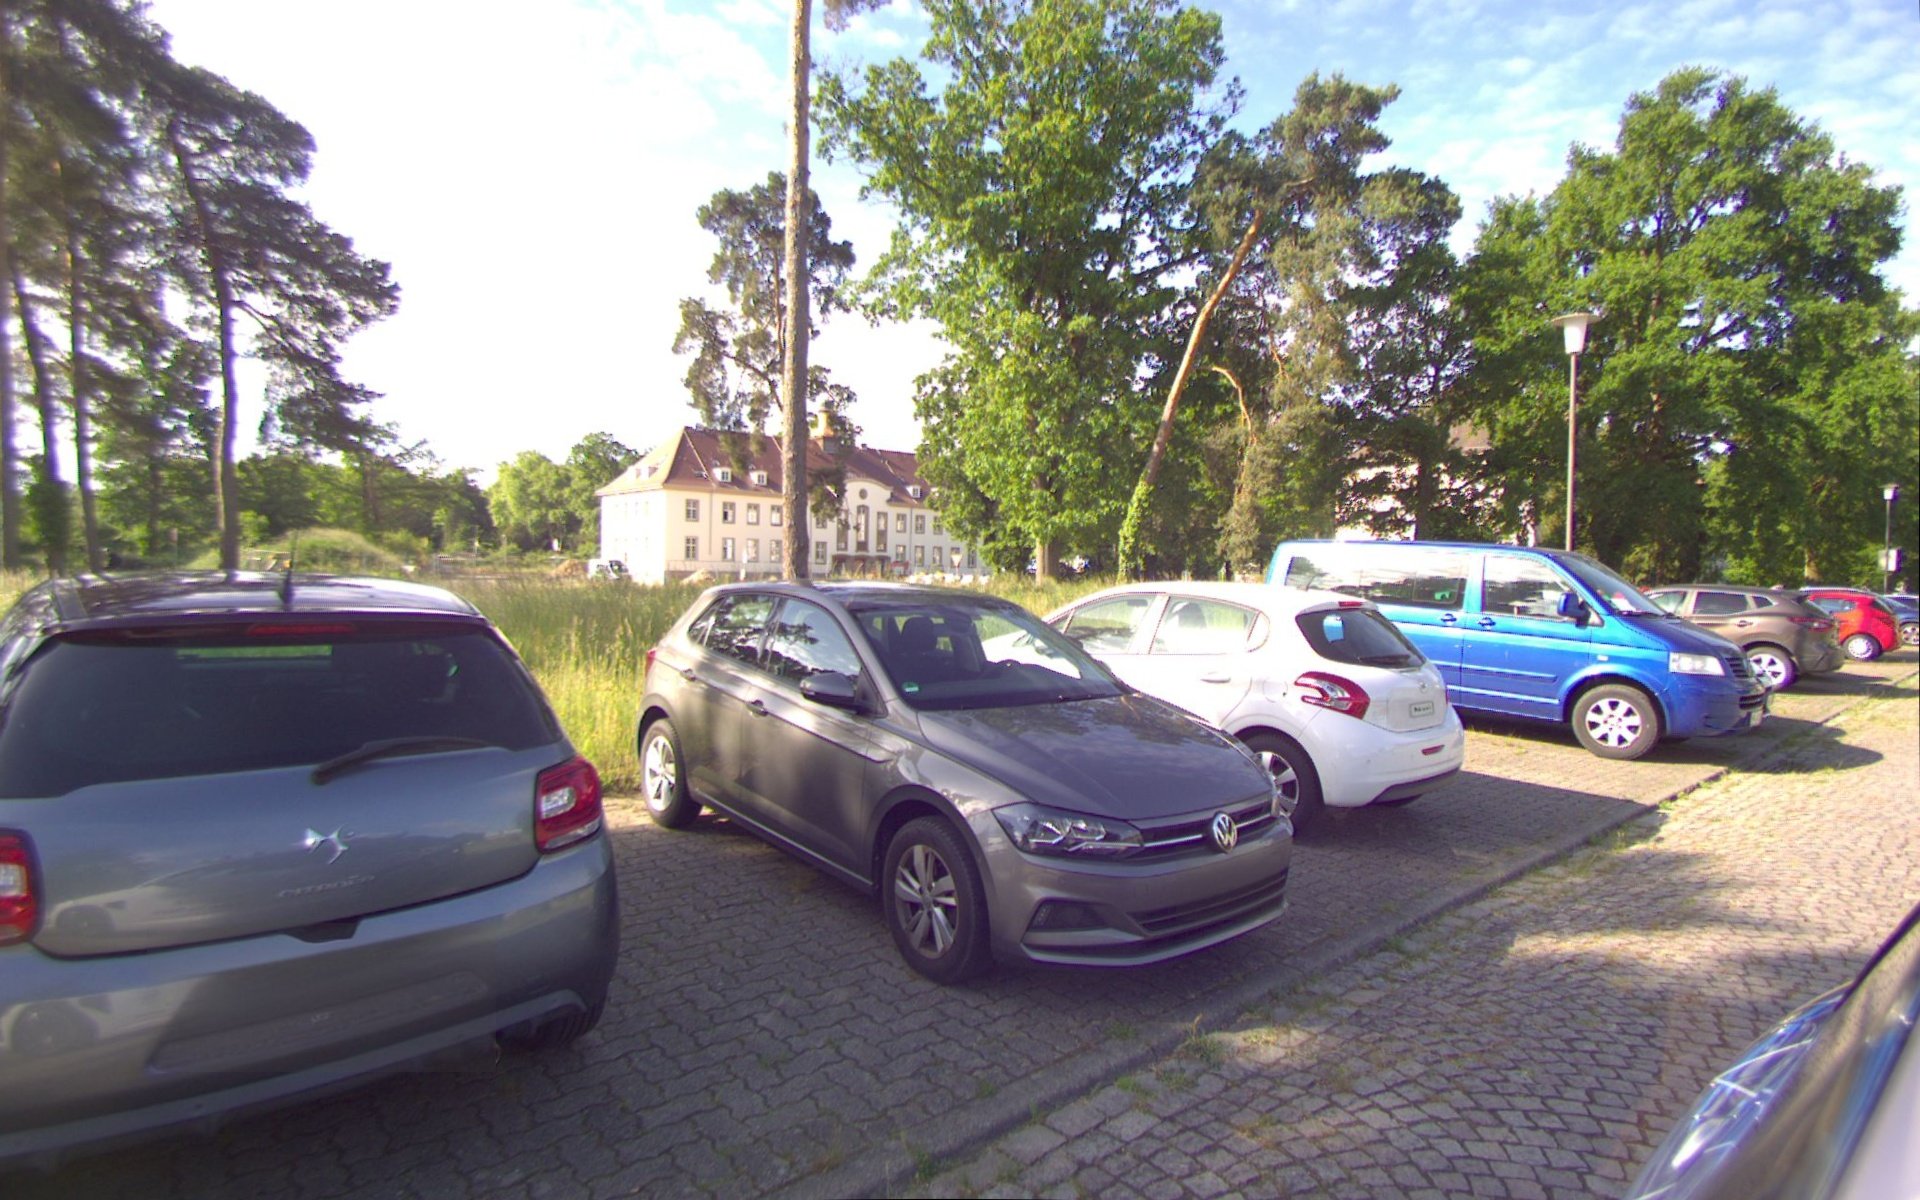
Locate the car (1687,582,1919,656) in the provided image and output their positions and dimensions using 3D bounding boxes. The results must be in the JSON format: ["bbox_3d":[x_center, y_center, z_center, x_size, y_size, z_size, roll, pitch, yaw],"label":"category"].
[{"bbox_3d":[19.490,0.364,23.519,1.514,1.514,3.994,0,2,-41],"label":"car"}]

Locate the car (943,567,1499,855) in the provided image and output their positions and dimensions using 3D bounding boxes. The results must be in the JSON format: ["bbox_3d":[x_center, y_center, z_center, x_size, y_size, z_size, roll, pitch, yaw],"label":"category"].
[{"bbox_3d":[1.655,0.545,7.357,1.605,1.510,3.652,0,2,-40],"label":"car"}]

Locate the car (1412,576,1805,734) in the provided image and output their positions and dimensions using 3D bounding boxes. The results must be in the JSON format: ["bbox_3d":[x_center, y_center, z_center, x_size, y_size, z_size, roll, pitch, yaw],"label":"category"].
[{"bbox_3d":[7.741,0.530,12.344,1.583,1.484,3.725,0,3,-43],"label":"car"}]

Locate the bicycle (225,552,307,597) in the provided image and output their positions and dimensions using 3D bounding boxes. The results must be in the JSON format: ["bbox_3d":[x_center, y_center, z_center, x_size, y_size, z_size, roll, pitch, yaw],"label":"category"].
[{"bbox_3d":[-32.939,-1.249,48.079,3.079,2.038,0.952,-3,3,-43],"label":"bicycle"}]

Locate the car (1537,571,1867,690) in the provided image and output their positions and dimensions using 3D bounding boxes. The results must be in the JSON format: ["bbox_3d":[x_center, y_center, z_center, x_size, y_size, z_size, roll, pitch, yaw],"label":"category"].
[{"bbox_3d":[12.074,0.392,16.675,1.756,1.631,4.113,0,2,-42],"label":"car"}]

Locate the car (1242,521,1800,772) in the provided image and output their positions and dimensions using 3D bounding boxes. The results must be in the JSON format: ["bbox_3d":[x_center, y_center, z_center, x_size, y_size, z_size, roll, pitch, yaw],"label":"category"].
[{"bbox_3d":[5.657,0.240,10.810,1.965,2.038,4.765,0,4,-40],"label":"car"}]

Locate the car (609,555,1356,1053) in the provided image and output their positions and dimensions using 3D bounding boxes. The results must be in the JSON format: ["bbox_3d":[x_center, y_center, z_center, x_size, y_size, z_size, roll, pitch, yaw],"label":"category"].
[{"bbox_3d":[-0.230,0.564,5.143,1.726,1.468,3.790,0,3,-39],"label":"car"}]

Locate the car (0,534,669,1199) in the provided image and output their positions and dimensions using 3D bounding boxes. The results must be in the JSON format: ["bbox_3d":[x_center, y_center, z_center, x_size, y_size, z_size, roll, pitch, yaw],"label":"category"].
[{"bbox_3d":[-2.633,0.549,3.659,1.638,1.472,3.671,0,4,-41],"label":"car"}]

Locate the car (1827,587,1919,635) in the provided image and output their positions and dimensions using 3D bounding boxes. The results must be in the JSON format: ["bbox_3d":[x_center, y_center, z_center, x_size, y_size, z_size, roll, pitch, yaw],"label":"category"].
[{"bbox_3d":[30.918,0.349,32.979,1.716,1.484,3.808,0,2,-40],"label":"car"}]

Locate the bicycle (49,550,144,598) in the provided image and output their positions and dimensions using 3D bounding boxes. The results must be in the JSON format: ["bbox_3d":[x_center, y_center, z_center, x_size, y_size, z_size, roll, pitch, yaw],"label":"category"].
[{"bbox_3d":[-38.010,-1.192,44.592,3.079,2.038,0.952,-3,3,-43],"label":"bicycle"}]

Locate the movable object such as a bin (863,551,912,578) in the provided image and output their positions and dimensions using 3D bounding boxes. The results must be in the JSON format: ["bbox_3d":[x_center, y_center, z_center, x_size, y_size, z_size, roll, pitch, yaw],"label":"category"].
[{"bbox_3d":[-8.069,-3.926,112.718,4.976,2.937,2.181,0,2,-35],"label":"movable object such as a bin"}]

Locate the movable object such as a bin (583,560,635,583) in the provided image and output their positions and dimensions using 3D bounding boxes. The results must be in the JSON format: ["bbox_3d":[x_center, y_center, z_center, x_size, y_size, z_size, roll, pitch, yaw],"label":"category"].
[{"bbox_3d":[-33.605,-2.754,96.755,5.711,2.038,2.093,3,2,40],"label":"movable object such as a bin"}]

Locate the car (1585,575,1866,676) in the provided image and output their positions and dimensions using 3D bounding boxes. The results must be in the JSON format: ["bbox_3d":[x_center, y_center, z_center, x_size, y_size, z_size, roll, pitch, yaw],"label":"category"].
[{"bbox_3d":[13.992,0.379,18.665,1.673,1.557,3.833,0,3,-40],"label":"car"}]

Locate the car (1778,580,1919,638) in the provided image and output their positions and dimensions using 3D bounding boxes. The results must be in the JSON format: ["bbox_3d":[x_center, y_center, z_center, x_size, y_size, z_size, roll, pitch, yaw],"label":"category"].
[{"bbox_3d":[27.193,0.235,30.066,1.623,1.618,4.270,0,2,-41],"label":"car"}]
